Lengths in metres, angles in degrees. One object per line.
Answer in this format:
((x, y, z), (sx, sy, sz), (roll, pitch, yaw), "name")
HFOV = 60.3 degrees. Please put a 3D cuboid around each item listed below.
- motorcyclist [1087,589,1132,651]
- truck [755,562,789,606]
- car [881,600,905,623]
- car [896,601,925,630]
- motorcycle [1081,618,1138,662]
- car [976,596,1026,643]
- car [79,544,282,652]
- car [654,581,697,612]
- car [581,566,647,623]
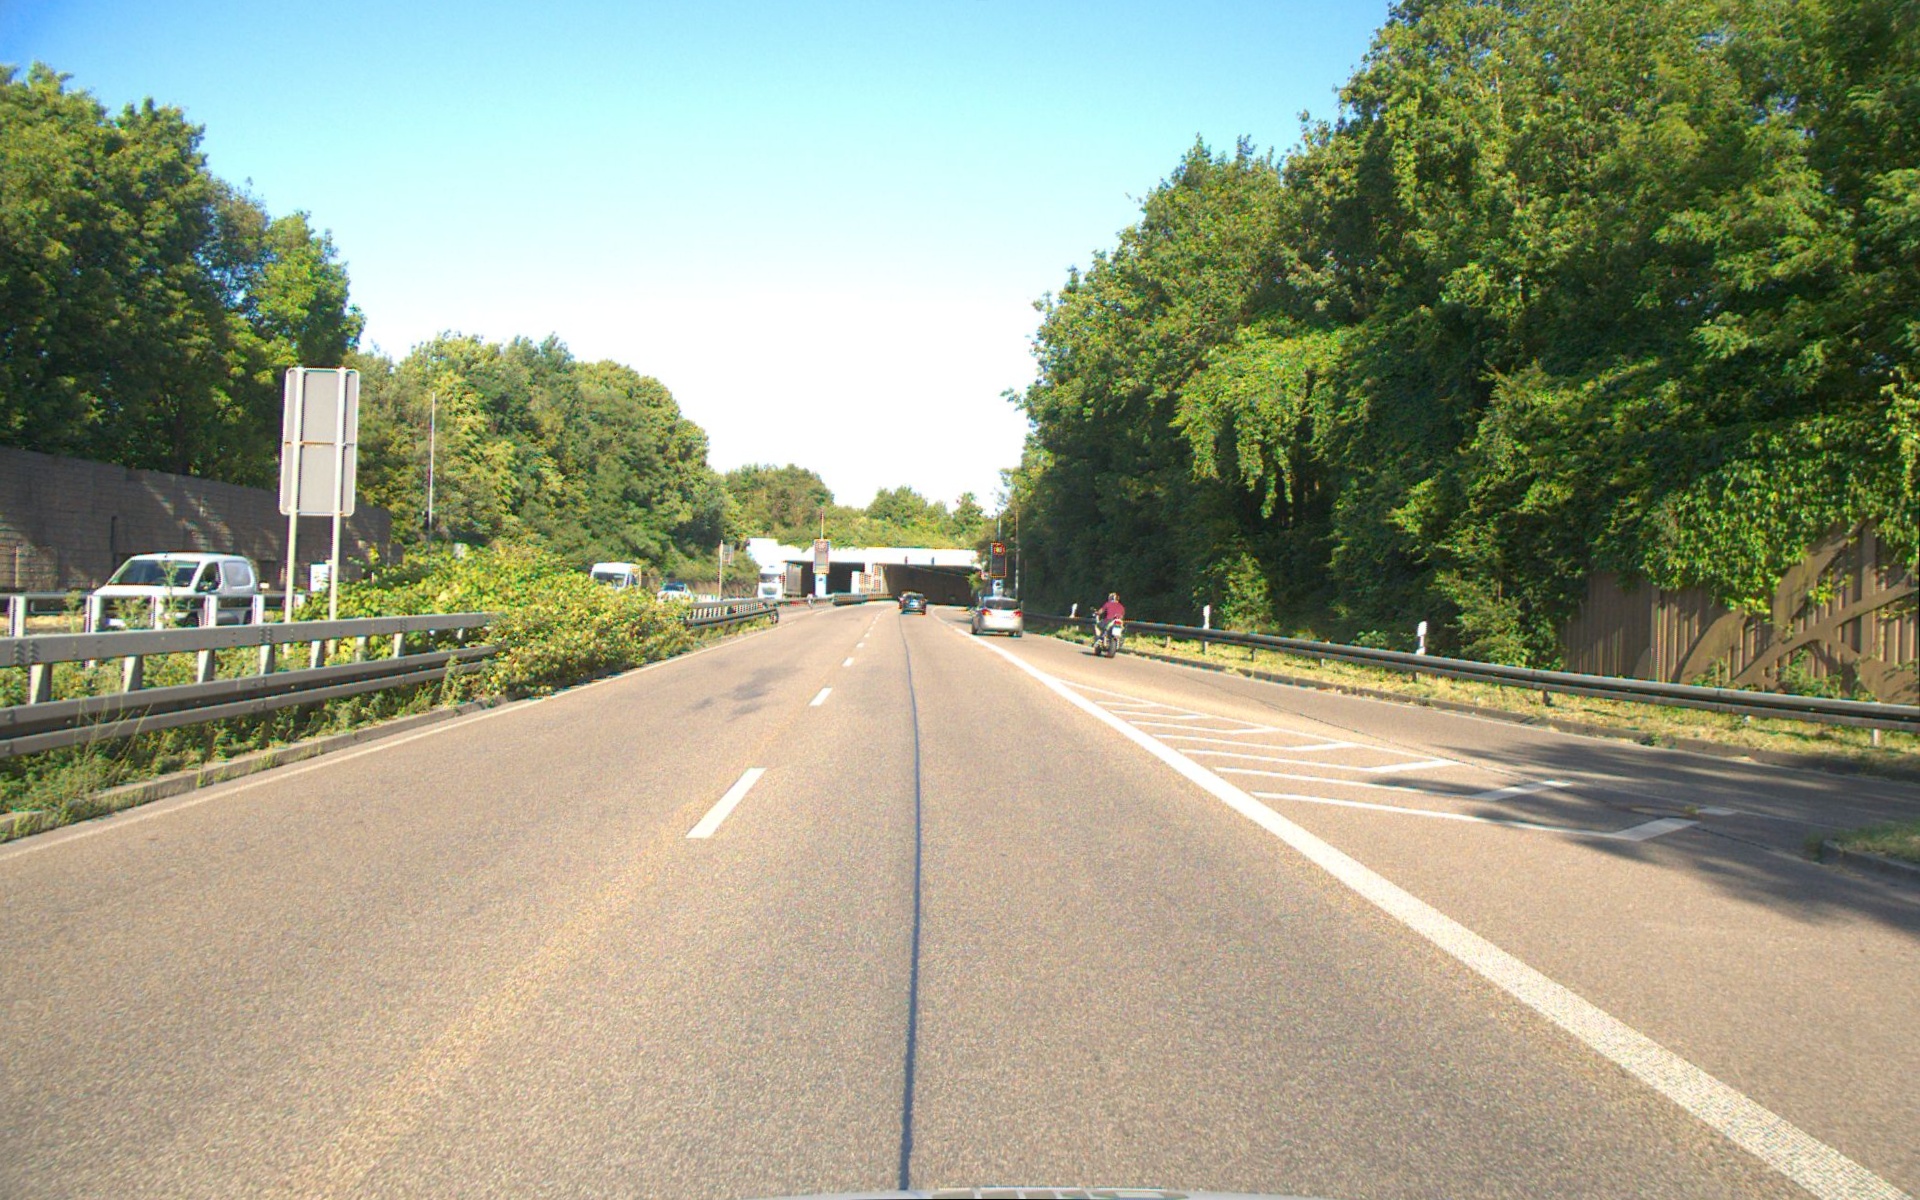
((3.845, 0.504, 42.578), (0.867, 1.527, 1.061), (3, 1, -8), "motorcyclist")
((-19.467, -1.699, 171.665), (2.680, 4.335, 6.387), (3, 1, -1), "truck")
((-6.135, 1.033, 151.577), (1.953, 1.959, 3.999), (2, 1, -1), "car")
((-3.582, 1.099, 119.510), (1.953, 1.959, 3.999), (2, 1, -1), "car")
((3.818, 1.009, 42.592), (0.842, 1.008, 2.724), (3, 0, -8), "motorcycle")
((1.520, 0.702, 63.035), (1.633, 1.579, 3.999), (3, 1, -1), "car")
((-15.101, -0.079, 32.355), (1.785, 1.853, 4.620), (3, 1, -1), "car")
((-18.137, -0.258, 105.586), (1.954, 1.813, 4.783), (3, 1, -2), "car")
((-17.362, -0.317, 83.193), (2.104, 2.656, 6.050), (3, 1, -2), "car")
